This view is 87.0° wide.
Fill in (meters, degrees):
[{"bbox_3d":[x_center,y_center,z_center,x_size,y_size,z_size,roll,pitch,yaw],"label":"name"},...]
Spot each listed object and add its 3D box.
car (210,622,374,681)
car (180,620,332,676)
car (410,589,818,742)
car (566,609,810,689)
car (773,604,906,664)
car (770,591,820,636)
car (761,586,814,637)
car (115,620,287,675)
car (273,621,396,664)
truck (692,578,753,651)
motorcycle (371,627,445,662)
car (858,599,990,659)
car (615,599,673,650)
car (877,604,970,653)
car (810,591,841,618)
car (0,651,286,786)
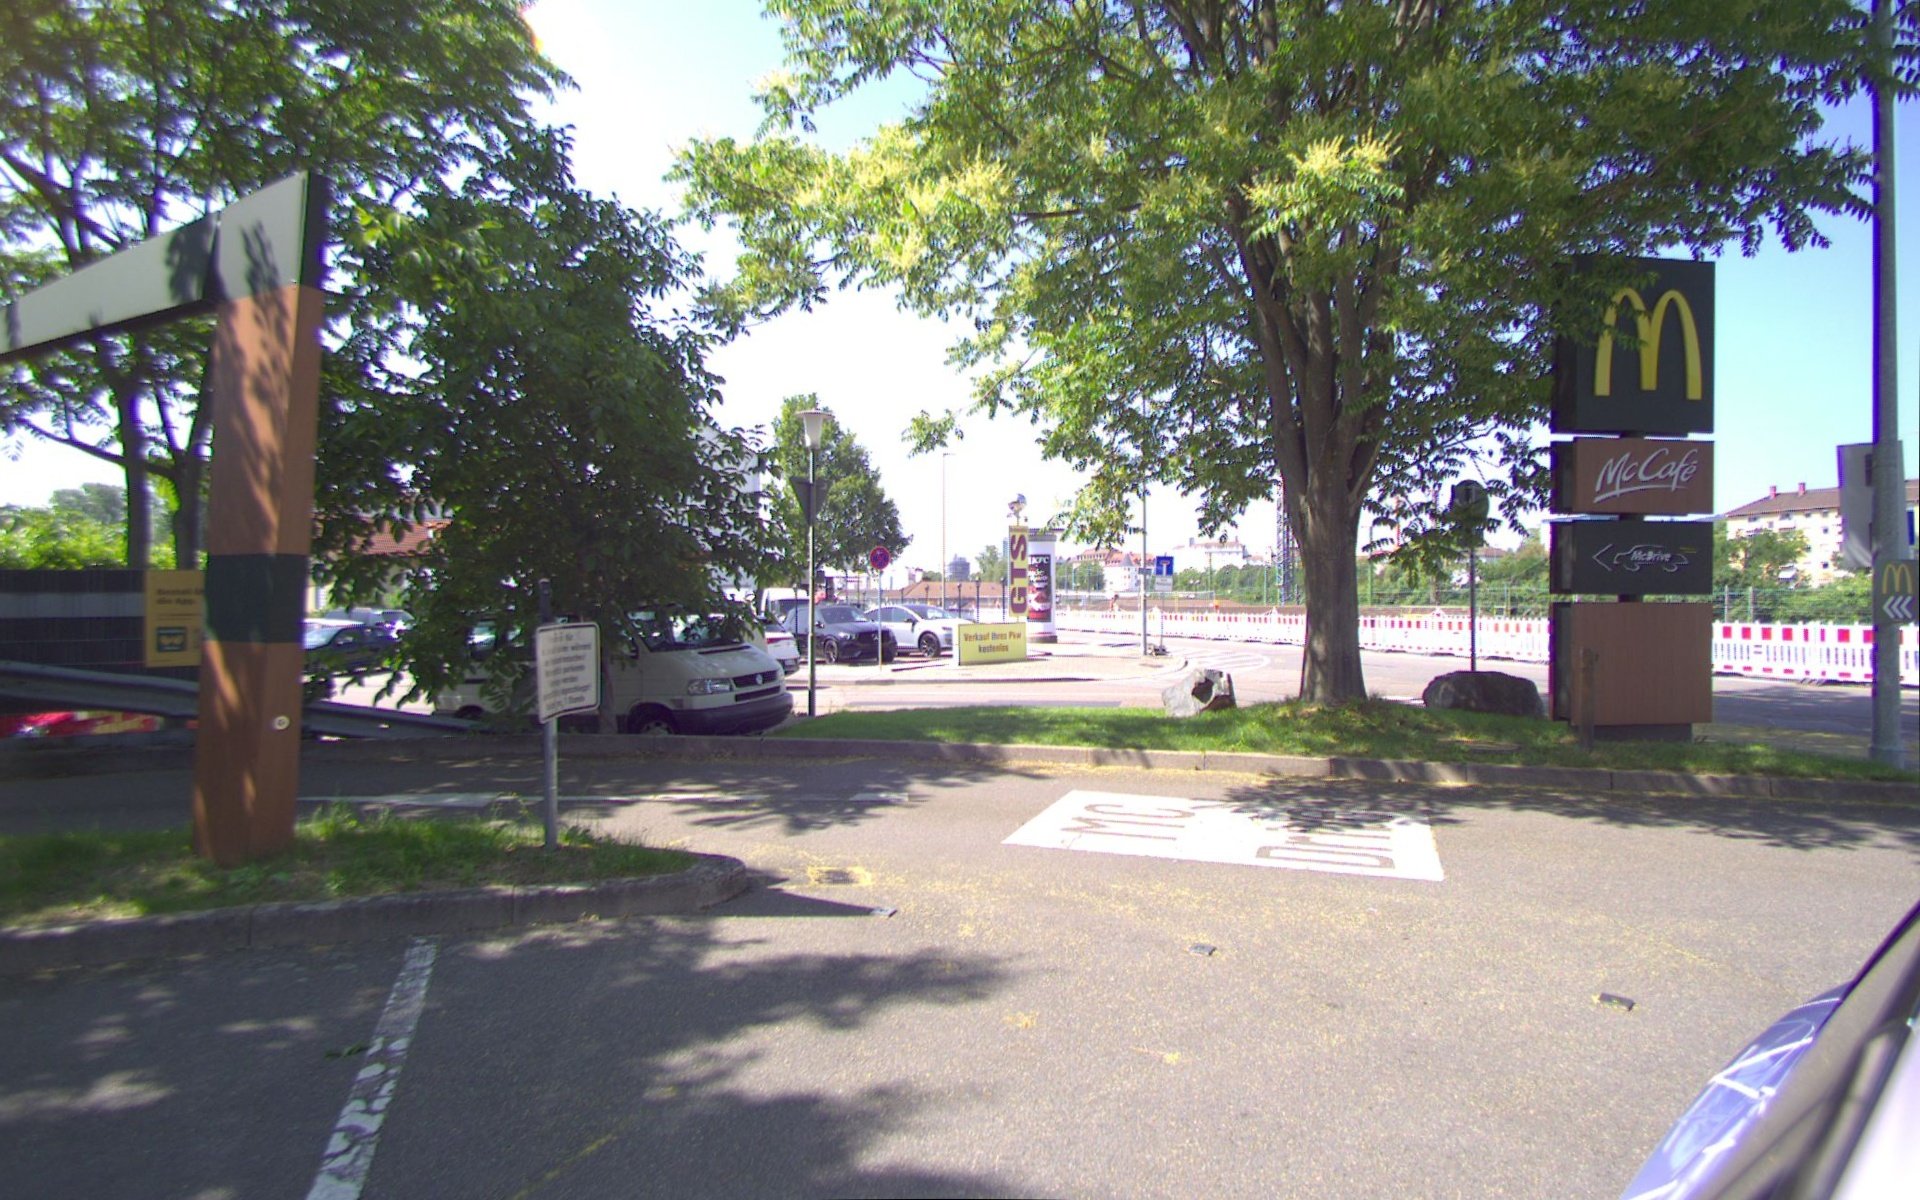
[{"bbox_3d":[-20.894,1.564,31.858,1.972,1.728,3.979,-1,-1,16],"label":"car"},{"bbox_3d":[-23.463,1.564,33.928,1.967,1.748,3.988,-1,-2,9],"label":"car"},{"bbox_3d":[-4.376,0.691,12.611,4.984,1.603,1.939,0,-1,28],"label":"car"},{"bbox_3d":[-6.028,1.049,22.601,4.957,1.666,1.991,0,-1,15],"label":"car"},{"bbox_3d":[-3.604,0.967,29.648,2.014,1.615,4.422,1,-2,-35],"label":"car"},{"bbox_3d":[-6.936,0.573,42.160,1.844,1.760,4.730,1,-1,-12],"label":"car"},{"bbox_3d":[-8.239,0.532,48.075,2.098,2.314,4.719,0,-1,-14],"label":"car"},{"bbox_3d":[-25.686,1.577,34.489,1.967,1.748,4.640,-1,-2,9],"label":"car"},{"bbox_3d":[-24.204,1.614,39.180,3.947,1.605,1.988,-1,-2,19],"label":"car"},{"bbox_3d":[-10.239,0.619,44.095,2.229,2.941,5.952,1,-1,-10],"label":"truck"},{"bbox_3d":[-20.572,1.653,37.819,0.983,1.242,2.711,0,-1,8],"label":"motorcycle"},{"bbox_3d":[-1.181,0.901,31.841,3.985,1.748,1.969,-1,-2,43],"label":"car"},{"bbox_3d":[-13.298,1.027,42.823,1.958,2.040,4.503,0,-1,-12],"label":"car"},{"bbox_3d":[-1.392,0.984,36.531,1.824,1.650,4.005,0,-1,-27],"label":"car"},{"bbox_3d":[-13.142,0.433,98.707,2.493,2.552,5.126,0,-1,-13],"label":"car"},{"bbox_3d":[-11.640,1.547,14.263,1.467,1.396,3.396,1,1,18],"label":"car"}]
